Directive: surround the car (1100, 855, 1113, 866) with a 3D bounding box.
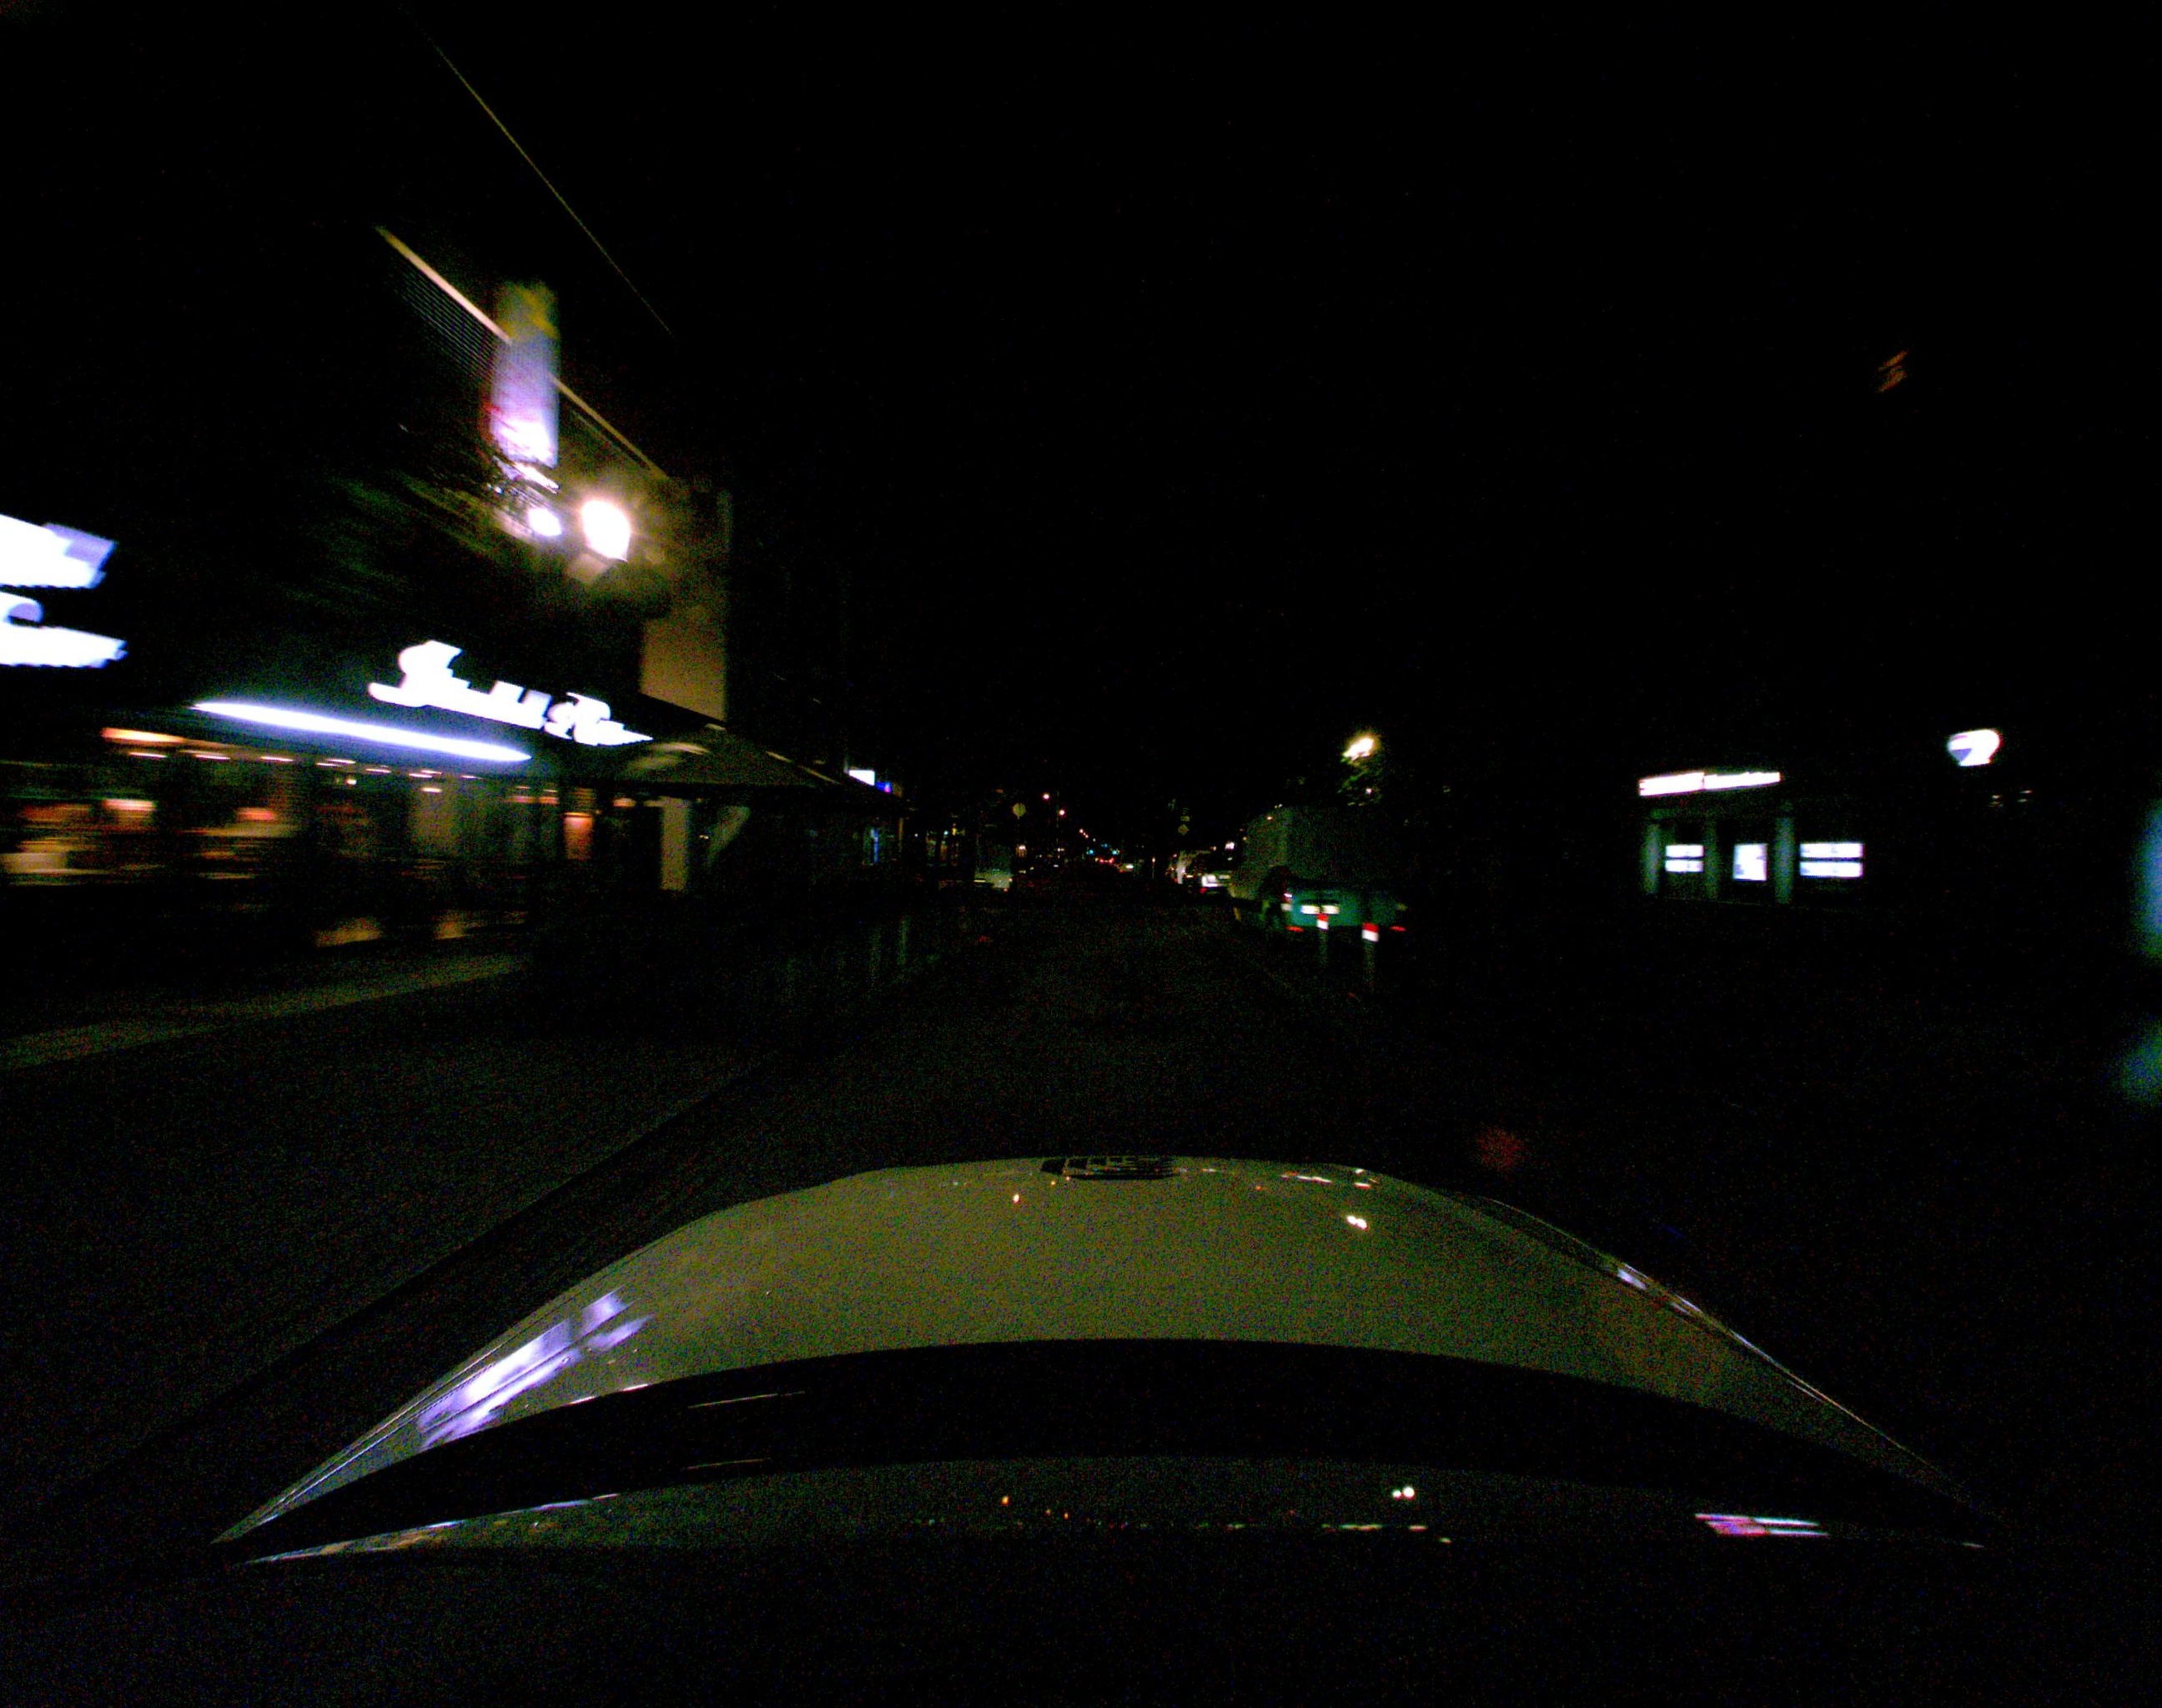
[{"bbox_3d":[3.984,1.007,129.223,1.986,1.643,4.001,0,0,1],"label":"car"}]

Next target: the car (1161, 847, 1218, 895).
[{"bbox_3d":[4.377,0.657,33.536,1.783,1.822,4.580,1,0,1],"label":"car"}]

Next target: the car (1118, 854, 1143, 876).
[{"bbox_3d":[3.657,0.803,60.998,1.763,1.537,4.219,-1,0,2],"label":"car"}]

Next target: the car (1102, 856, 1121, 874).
[{"bbox_3d":[2.784,0.988,73.886,1.683,1.537,4.018,1,0,2],"label":"car"}]

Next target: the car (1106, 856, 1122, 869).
[{"bbox_3d":[3.795,0.977,93.461,1.757,1.414,4.810,1,0,2],"label":"car"}]

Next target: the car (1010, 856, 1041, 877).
[{"bbox_3d":[-4.129,0.895,61.551,1.800,1.425,4.923,3,0,2],"label":"car"}]

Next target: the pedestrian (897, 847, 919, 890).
[{"bbox_3d":[-7.038,0.565,33.169,0.666,1.719,0.909,1,0,2],"label":"pedestrian"}]

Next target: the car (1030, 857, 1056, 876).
[{"bbox_3d":[-3.147,1.019,68.002,1.715,1.428,3.978,3,0,2],"label":"car"}]

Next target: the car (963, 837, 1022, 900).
[{"bbox_3d":[-3.270,0.516,30.980,1.849,2.087,5.084,3,0,-4],"label":"car"}]

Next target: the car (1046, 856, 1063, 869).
[{"bbox_3d":[-3.204,1.020,99.678,1.734,1.413,4.498,2,0,2],"label":"car"}]

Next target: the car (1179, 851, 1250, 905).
[{"bbox_3d":[4.419,0.744,27.548,1.679,1.659,4.296,1,0,0],"label":"car"}]

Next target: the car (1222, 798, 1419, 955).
[{"bbox_3d":[4.025,0.336,14.773,2.127,2.326,5.152,1,0,1],"label":"car"}]
